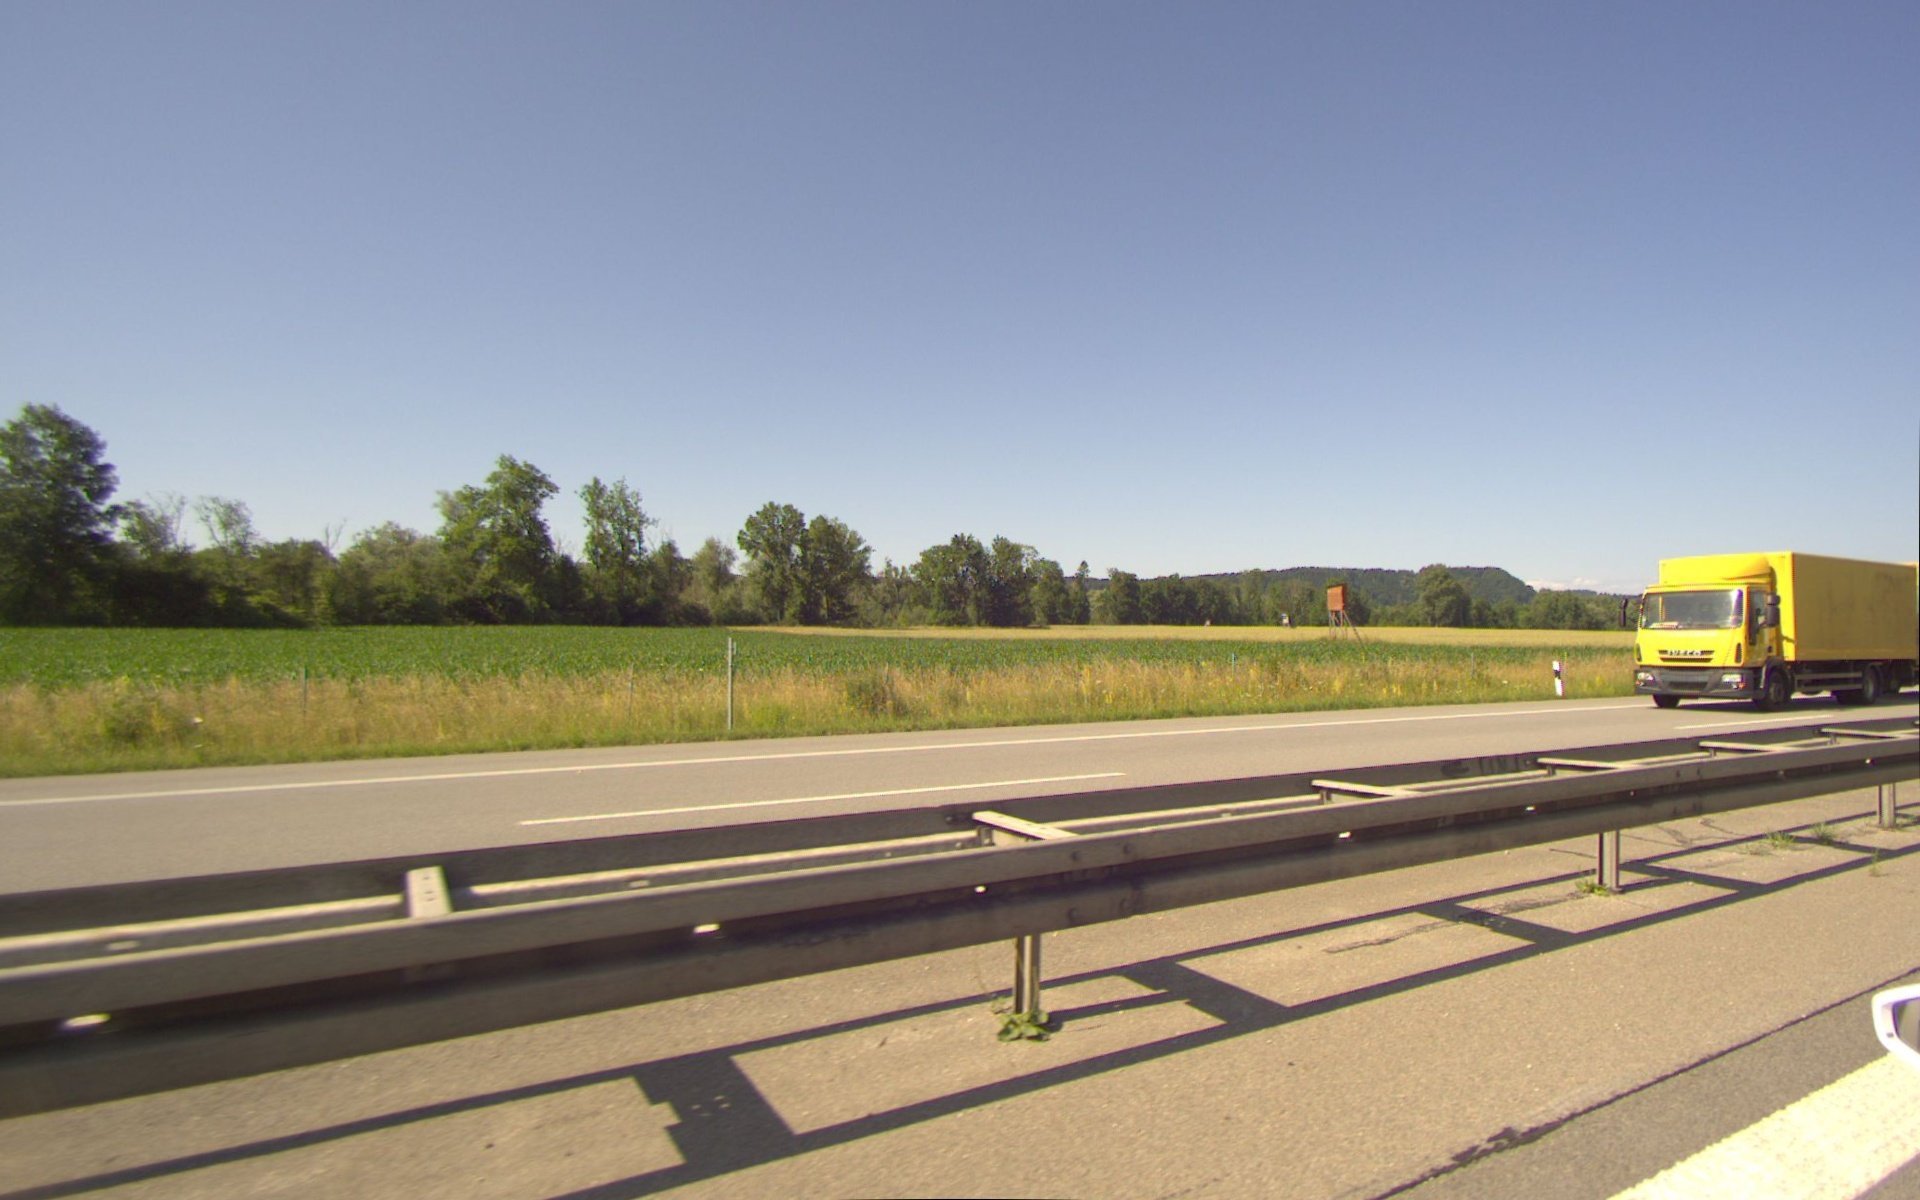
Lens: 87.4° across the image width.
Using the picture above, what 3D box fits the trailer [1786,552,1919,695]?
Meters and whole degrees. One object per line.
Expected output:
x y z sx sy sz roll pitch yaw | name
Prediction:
26.835 0.737 28.097 9.125 3.505 2.723 1 -3 -30 | trailer

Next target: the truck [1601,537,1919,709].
18.940 0.650 23.468 9.125 3.426 2.724 1 -5 -30 | truck
